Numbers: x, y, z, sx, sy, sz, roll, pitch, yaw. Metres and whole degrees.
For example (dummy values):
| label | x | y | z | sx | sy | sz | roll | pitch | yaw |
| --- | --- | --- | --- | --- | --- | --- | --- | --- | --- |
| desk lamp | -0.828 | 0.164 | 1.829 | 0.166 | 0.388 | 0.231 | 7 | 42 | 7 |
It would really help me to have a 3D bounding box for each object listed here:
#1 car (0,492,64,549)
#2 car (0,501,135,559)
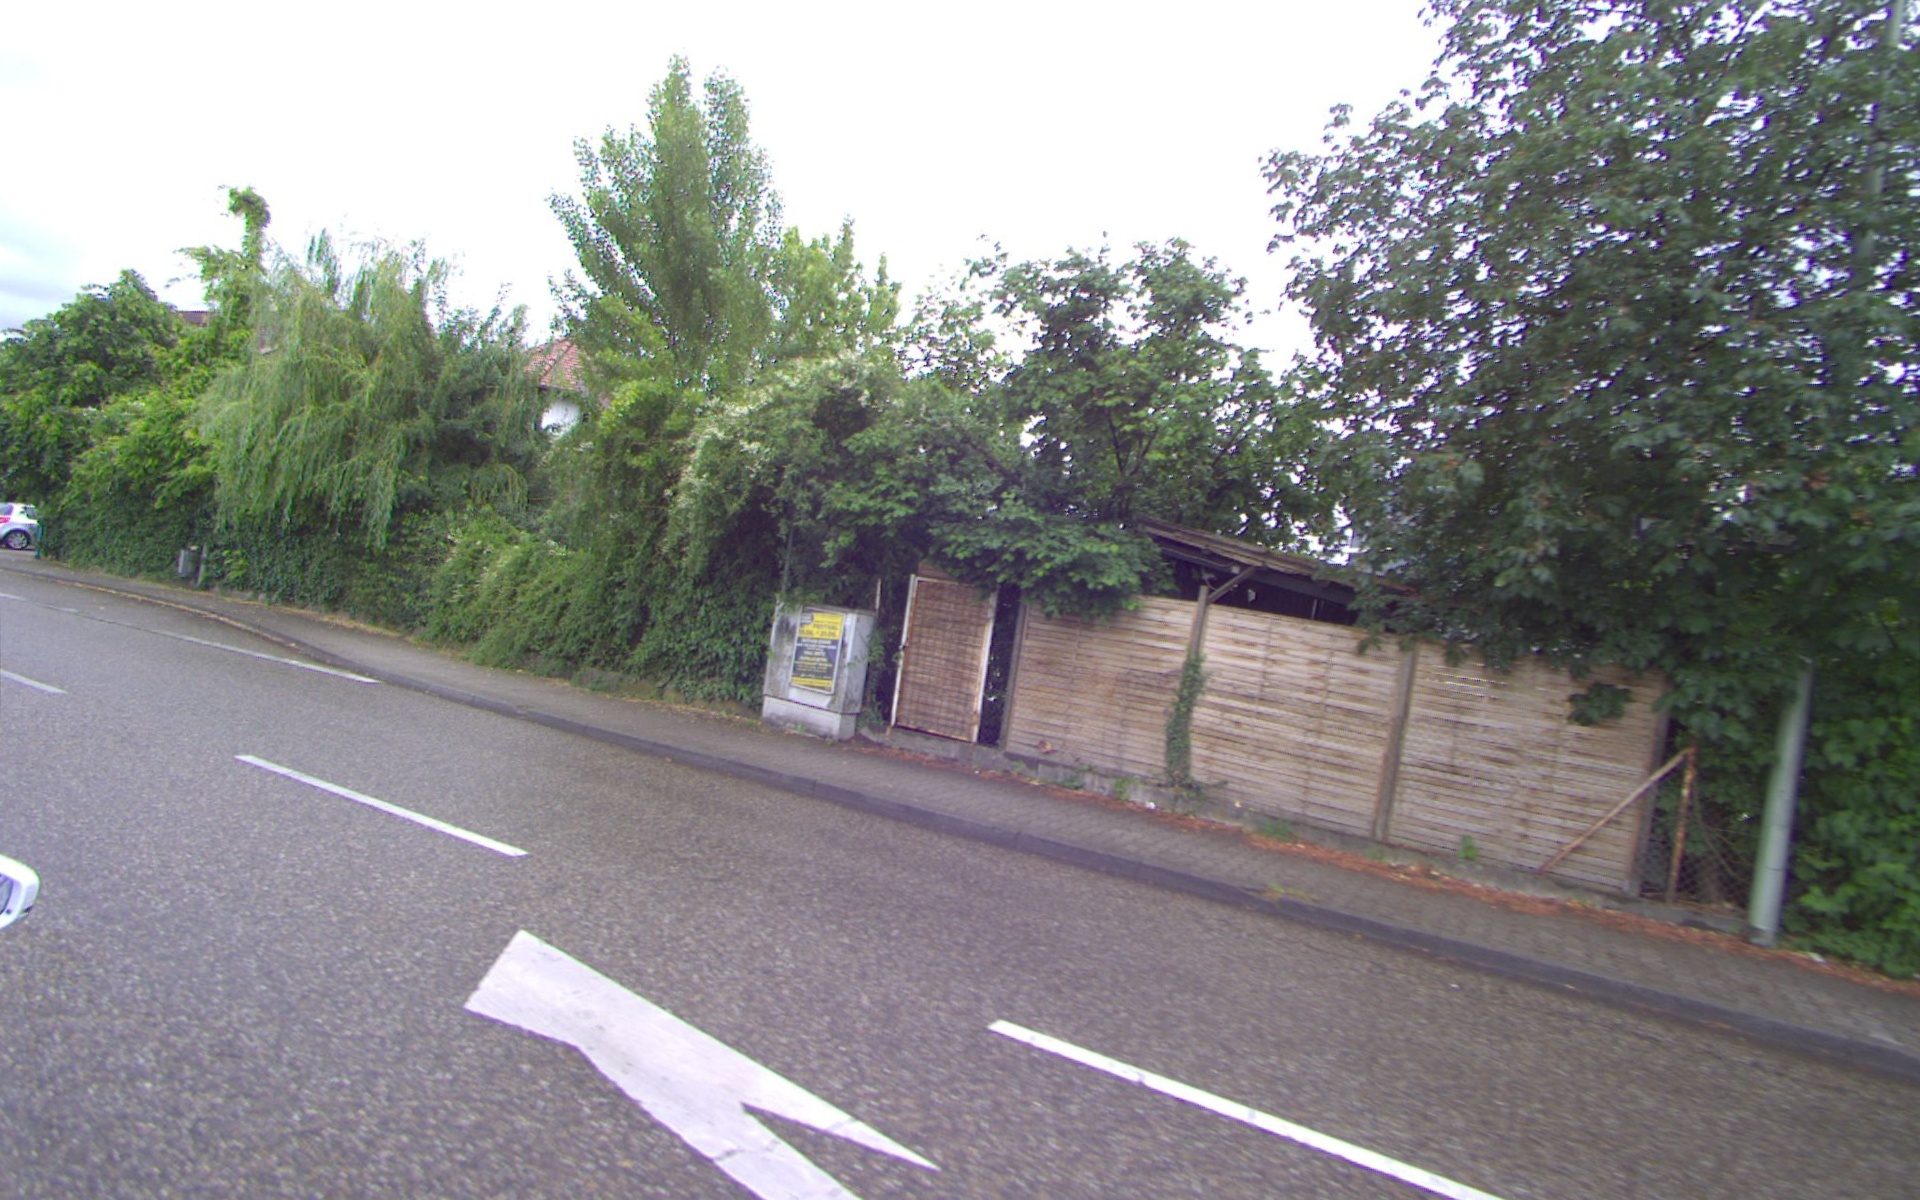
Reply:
| label | x | y | z | sx | sy | sz | roll | pitch | yaw |
| --- | --- | --- | --- | --- | --- | --- | --- | --- | --- |
| car | -34.047 | -2.945 | 35.151 | 1.678 | 1.767 | 3.636 | 7 | -1 | 28 |
| car | -29.453 | -2.289 | 32.648 | 1.698 | 1.412 | 3.724 | 6 | -1 | 24 |
